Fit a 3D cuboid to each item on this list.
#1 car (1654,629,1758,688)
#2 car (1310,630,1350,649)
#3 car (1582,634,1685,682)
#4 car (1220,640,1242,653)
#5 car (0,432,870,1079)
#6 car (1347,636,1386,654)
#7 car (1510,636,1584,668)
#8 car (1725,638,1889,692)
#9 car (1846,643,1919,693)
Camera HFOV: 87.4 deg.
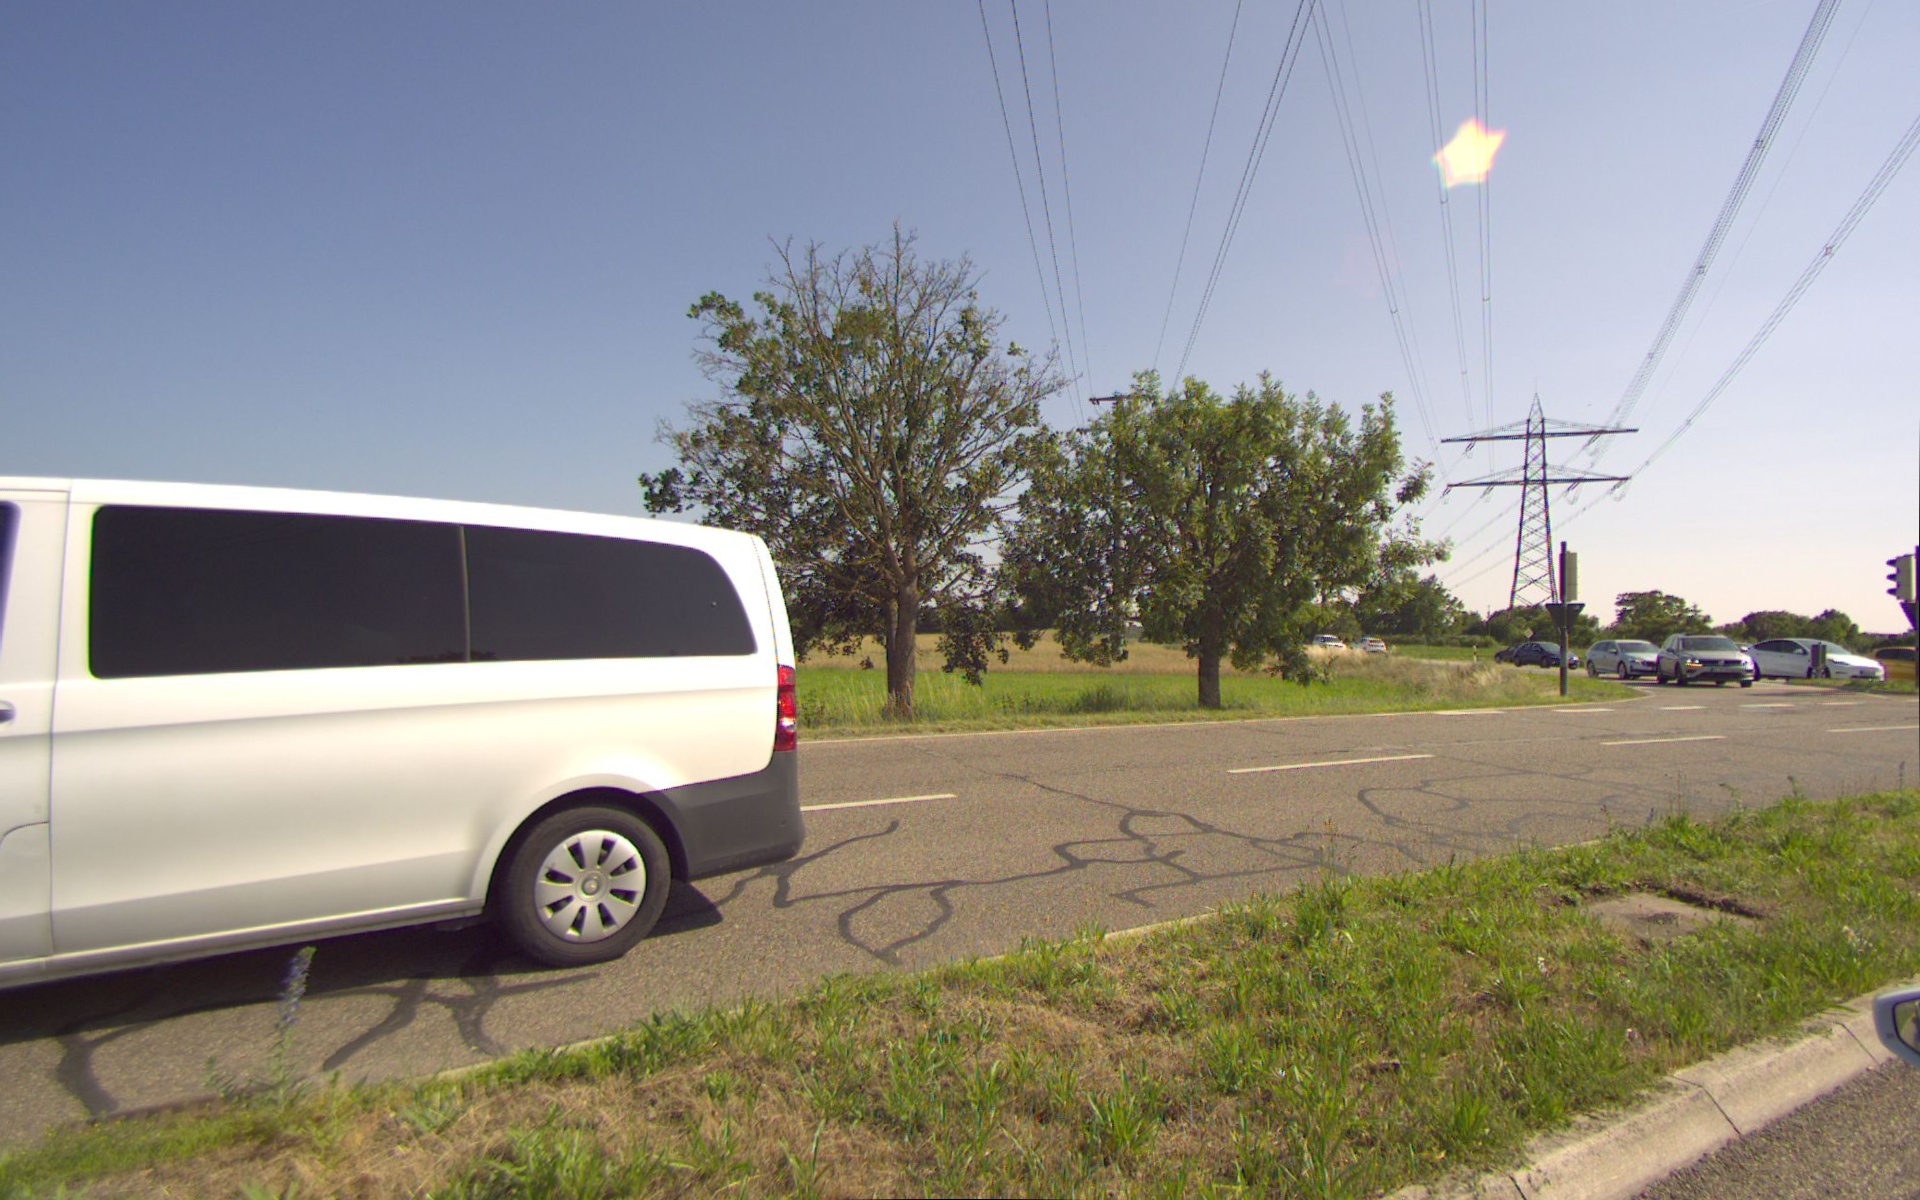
[{"bbox_3d":[23.130,1.765,31.299,1.786,1.673,3.997,0,-2,25],"label":"car"},{"bbox_3d":[32.353,3.443,87.956,1.785,1.505,3.998,0,0,-3],"label":"car"},{"bbox_3d":[25.346,2.133,37.959,1.783,1.673,4.003,1,-2,10],"label":"car"},{"bbox_3d":[35.931,6.156,133.315,1.683,1.435,4.103,2,-1,-2],"label":"car"},{"bbox_3d":[-3.003,0.471,4.114,4.893,1.943,1.982,1,0,-32],"label":"car"},{"bbox_3d":[37.197,4.090,91.955,1.773,1.539,3.879,1,-2,-4],"label":"car"},{"bbox_3d":[33.076,2.909,56.736,1.785,1.673,4.000,1,-1,-2],"label":"car"},{"bbox_3d":[30.388,2.287,36.266,1.785,1.673,4.760,2,-1,-2],"label":"car"},{"bbox_3d":[33.602,2.381,35.050,1.785,1.673,4.000,1,-1,-2],"label":"car"}]
